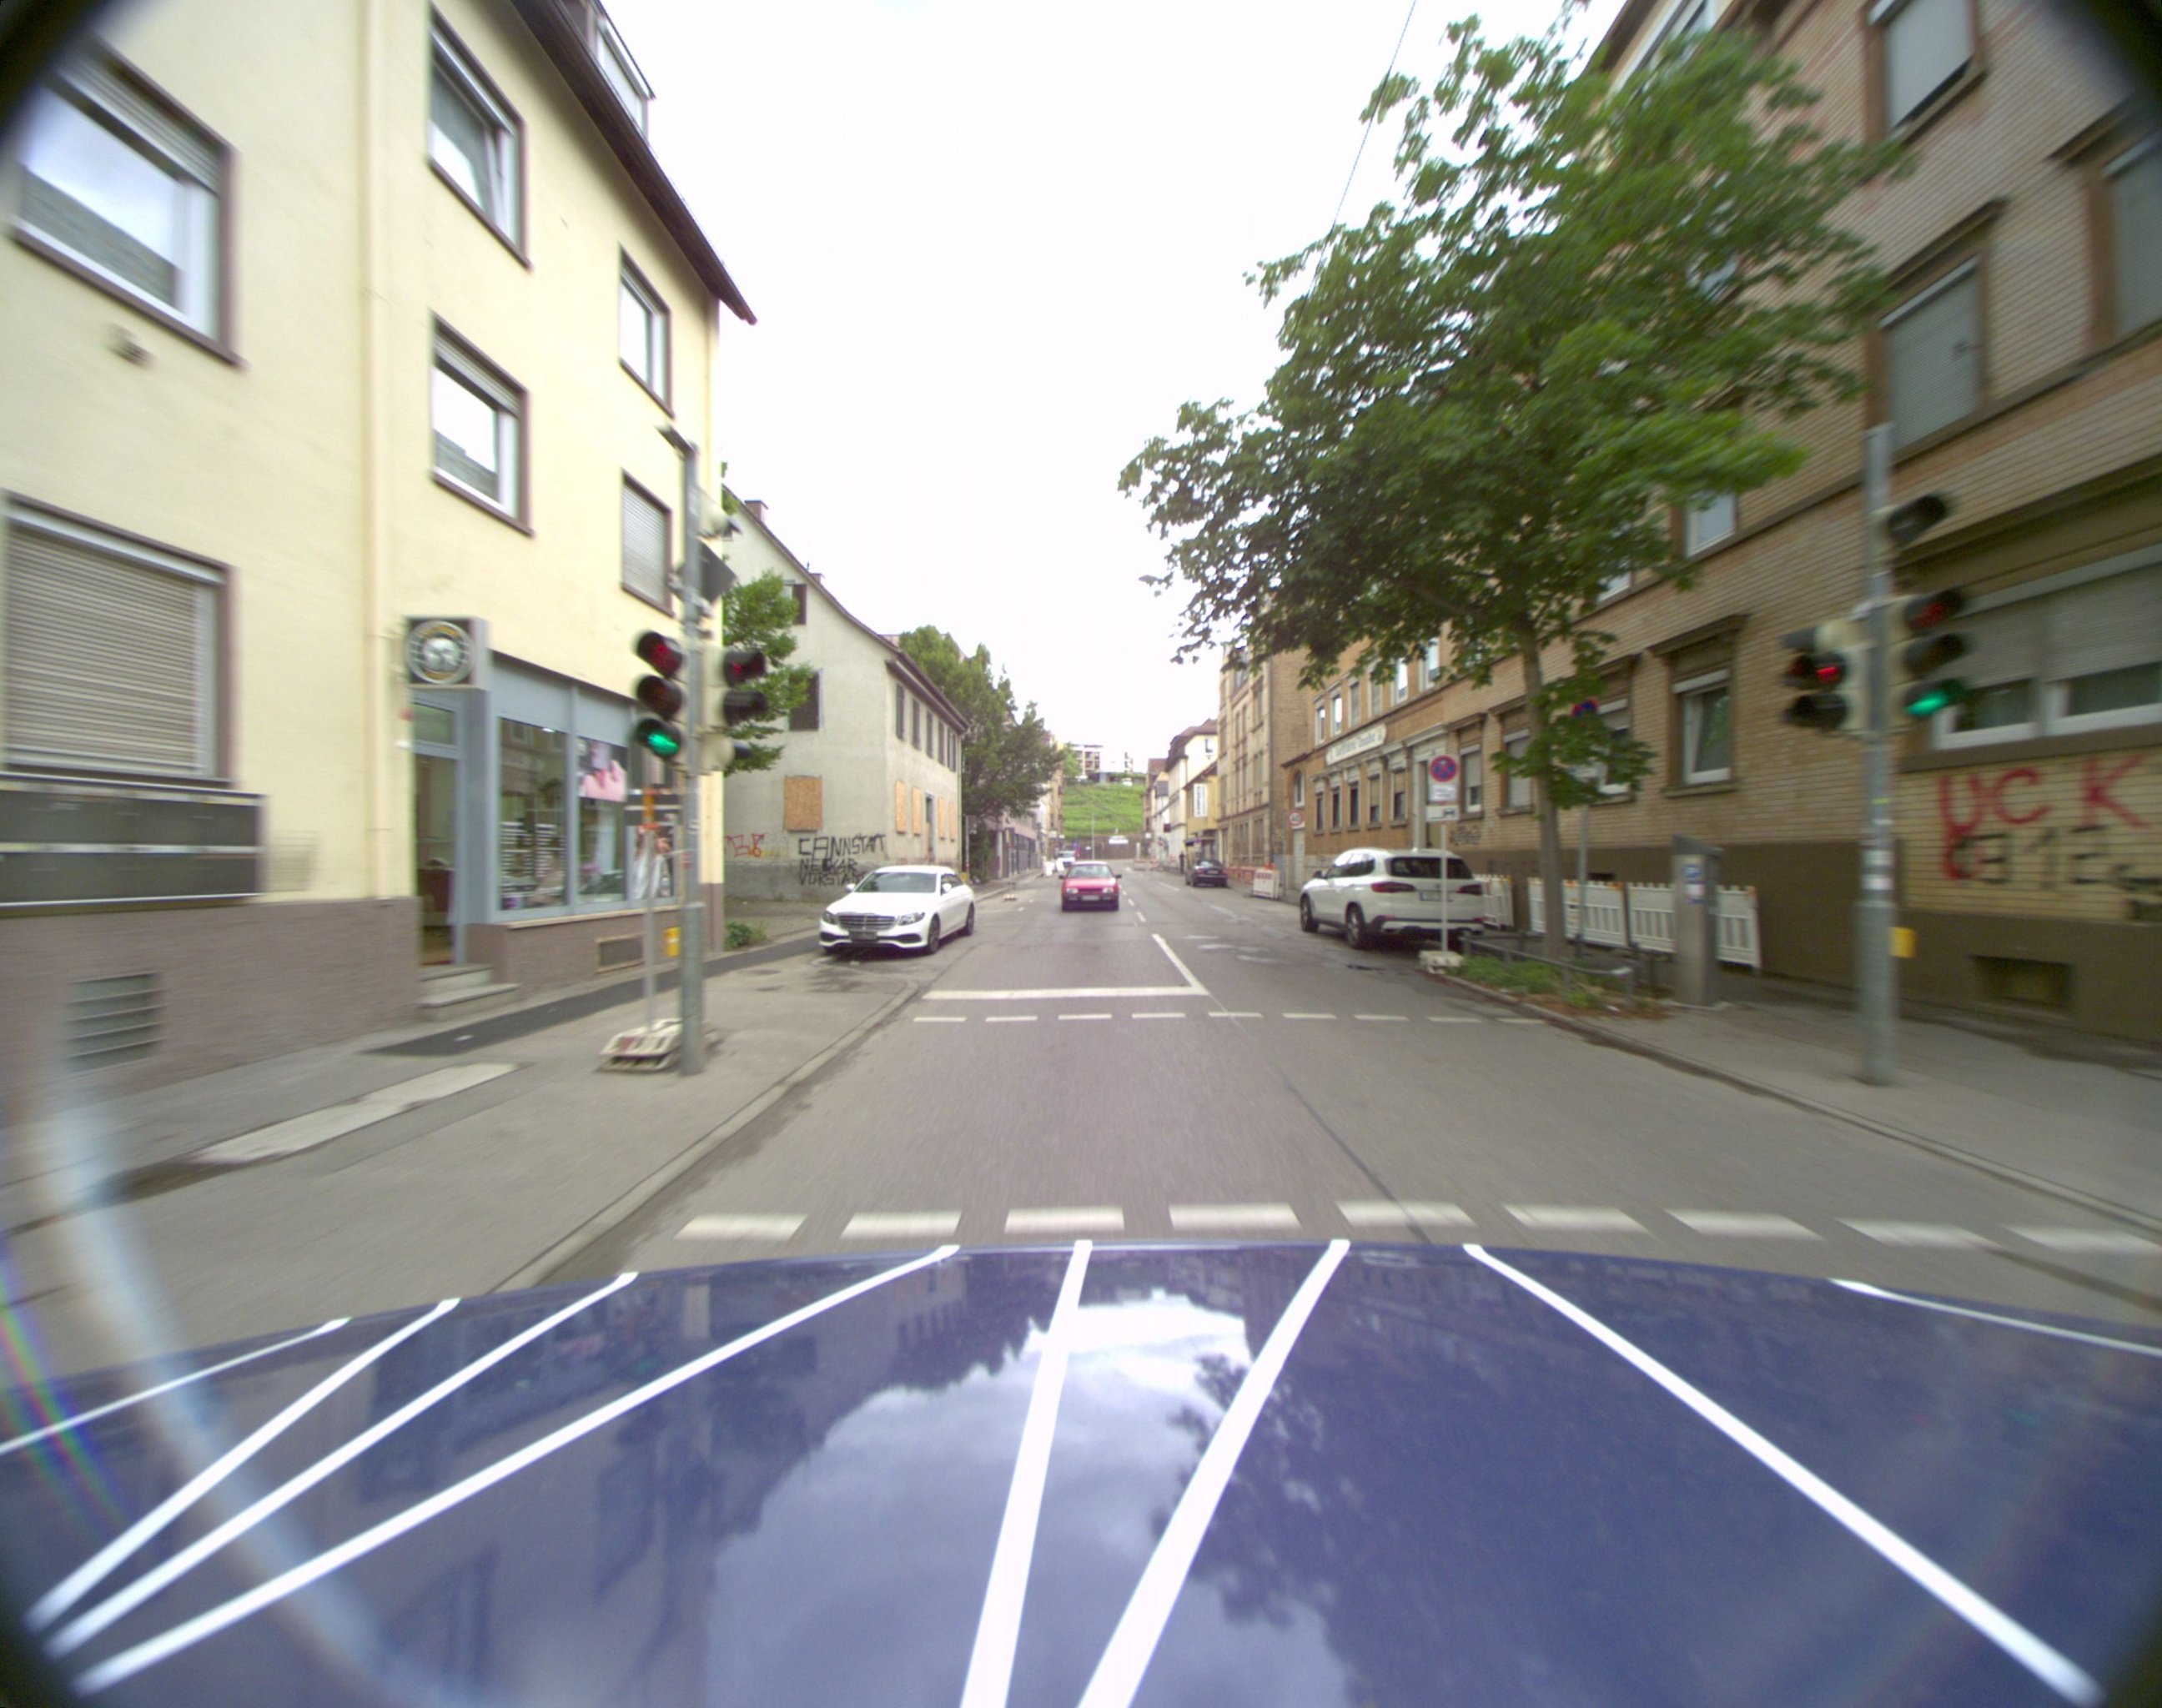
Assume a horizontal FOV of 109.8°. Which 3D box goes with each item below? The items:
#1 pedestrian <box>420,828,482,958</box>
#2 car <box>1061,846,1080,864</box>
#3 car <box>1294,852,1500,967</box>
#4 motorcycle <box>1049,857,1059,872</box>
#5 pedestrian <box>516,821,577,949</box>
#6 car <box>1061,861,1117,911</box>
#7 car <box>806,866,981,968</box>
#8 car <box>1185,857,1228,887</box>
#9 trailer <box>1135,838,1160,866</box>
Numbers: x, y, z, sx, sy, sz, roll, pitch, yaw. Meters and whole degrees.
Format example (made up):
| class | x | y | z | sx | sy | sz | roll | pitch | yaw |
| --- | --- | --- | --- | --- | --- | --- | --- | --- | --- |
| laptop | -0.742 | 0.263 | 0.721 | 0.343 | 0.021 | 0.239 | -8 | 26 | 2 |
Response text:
| class | x | y | z | sx | sy | sz | roll | pitch | yaw |
| --- | --- | --- | --- | --- | --- | --- | --- | --- | --- |
| pedestrian | -7.531 | 0.456 | 9.092 | 0.373 | 1.522 | 0.358 | -1 | 2 | 3 |
| car | -1.099 | 0.085 | 84.864 | 1.998 | 1.970 | 4.877 | 0 | 1 | 0 |
| car | 5.568 | 0.860 | 14.168 | 1.895 | 1.702 | 4.741 | 1 | 1 | 1 |
| motorcycle | -2.241 | 0.866 | 62.997 | 0.648 | 1.219 | 2.337 | -1 | 1 | 1 |
| pedestrian | -6.523 | 0.365 | 9.290 | 0.373 | 1.522 | 0.419 | -1 | 2 | 3 |
| car | 0.322 | 0.945 | 24.072 | 1.626 | 1.387 | 4.000 | 0 | 1 | 3 |
| car | -3.220 | 1.021 | 14.126 | 1.771 | 1.457 | 4.784 | -1 | 0 | 4 |
| car | 6.397 | 0.858 | 39.007 | 1.582 | 1.375 | 4.354 | 1 | 1 | 2 |
| trailer | 7.045 | -0.221 | 81.127 | 2.450 | 2.788 | 6.303 | 1 | 1 | 3 |
